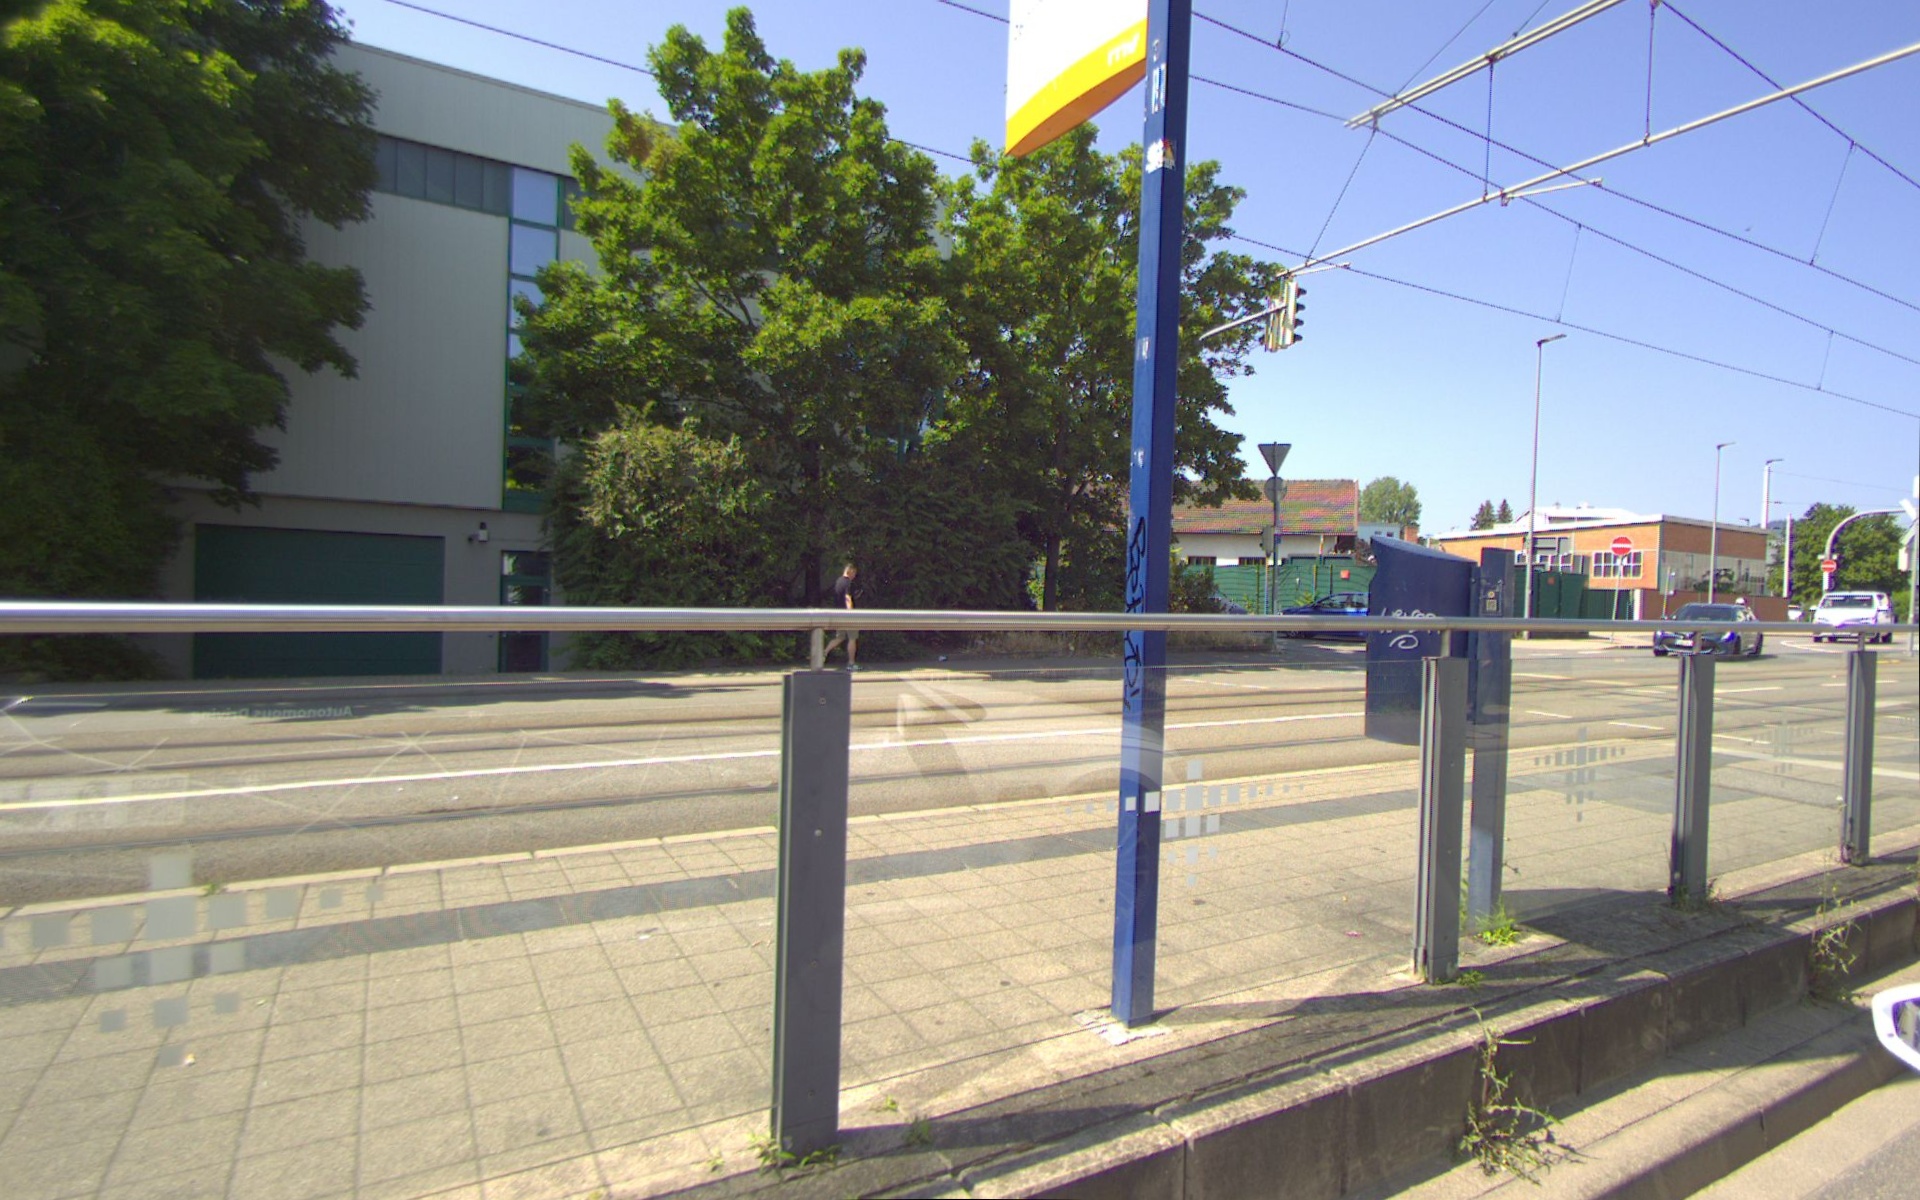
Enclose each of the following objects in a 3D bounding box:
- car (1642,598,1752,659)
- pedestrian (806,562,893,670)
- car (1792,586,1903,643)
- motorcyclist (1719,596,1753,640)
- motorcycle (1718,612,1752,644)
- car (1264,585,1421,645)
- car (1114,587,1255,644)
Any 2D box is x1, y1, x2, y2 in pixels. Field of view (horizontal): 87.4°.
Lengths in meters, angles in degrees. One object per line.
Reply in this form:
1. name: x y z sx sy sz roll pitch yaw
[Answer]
1. car: 19.966 0.695 27.131 1.886 1.461 4.569 3 2 42
2. pedestrian: -1.811 0.254 16.479 1.146 1.693 0.881 1 1 -30
3. car: 34.617 0.547 39.138 4.969 2.041 2.147 1 2 -36
4. motorcyclist: 27.066 0.619 35.044 0.826 1.495 0.958 3 2 41
5. motorcycle: 27.003 0.967 34.989 0.813 1.025 1.954 3 2 41
6. car: 11.354 0.402 29.905 4.089 1.557 1.802 2 1 32
7. car: 6.783 0.422 30.760 1.910 1.604 4.158 1 1 -30
